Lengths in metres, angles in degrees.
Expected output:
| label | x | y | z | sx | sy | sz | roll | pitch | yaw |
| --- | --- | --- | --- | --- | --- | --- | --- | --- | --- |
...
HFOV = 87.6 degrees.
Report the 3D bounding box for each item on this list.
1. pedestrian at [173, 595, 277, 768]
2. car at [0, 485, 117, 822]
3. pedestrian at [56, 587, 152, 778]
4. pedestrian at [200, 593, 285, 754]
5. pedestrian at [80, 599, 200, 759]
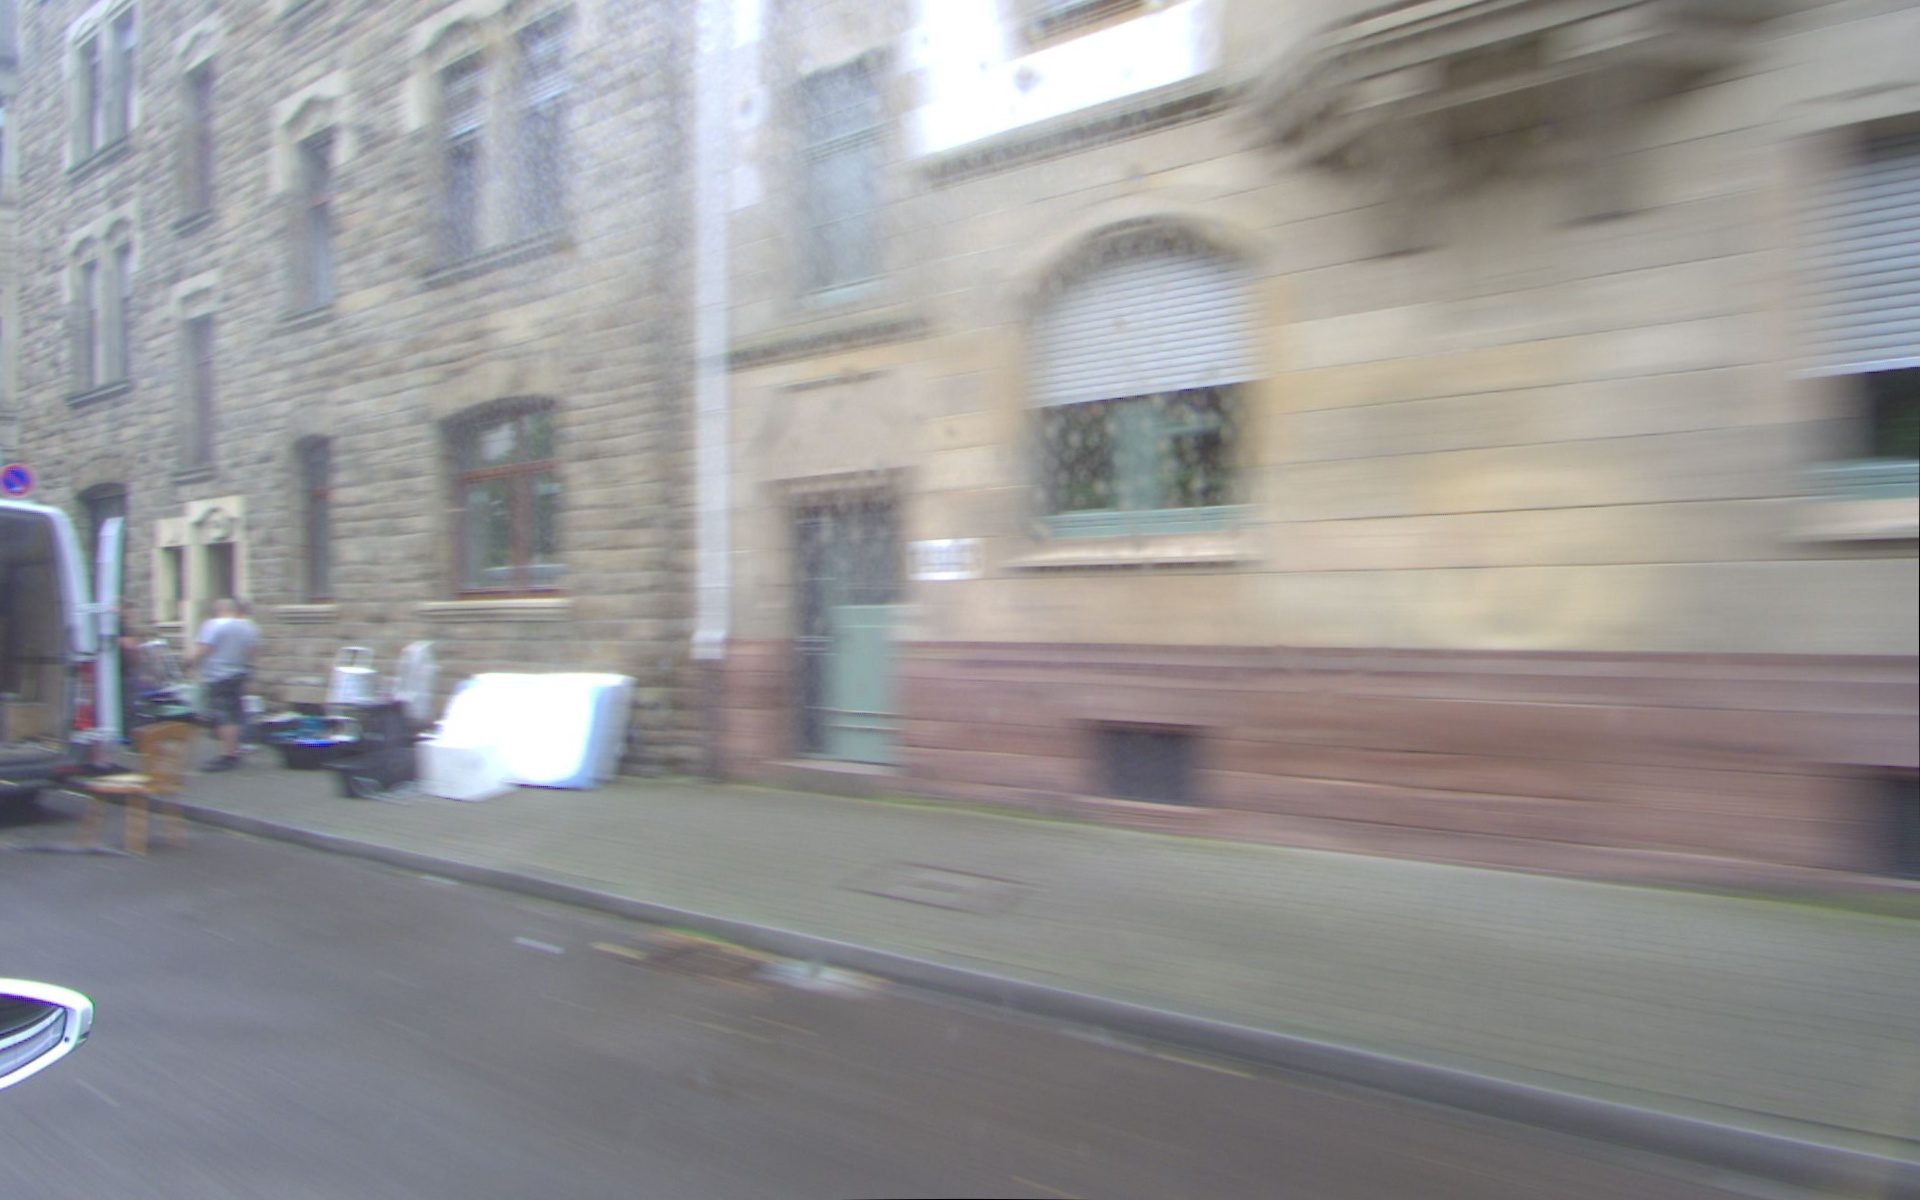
| label | x | y | z | sx | sy | sz | roll | pitch | yaw |
| --- | --- | --- | --- | --- | --- | --- | --- | --- | --- |
| pedestrian | -7.573 | 0.817 | 10.338 | 0.483 | 1.723 | 0.704 | -1 | 1 | 4 |
| car | -10.446 | 0.429 | 9.288 | 6.917 | 2.580 | 2.010 | -1 | -3 | 33 |
| pedestrian | -8.600 | 0.795 | 10.063 | 0.791 | 1.839 | 0.497 | 0 | 1 | 33 |
| pedestrian | -8.001 | 0.795 | 11.174 | 0.571 | 1.740 | 0.508 | 0 | 1 | 22 |
| pedestrian | -9.234 | 0.856 | 11.303 | 0.528 | 1.723 | 0.863 | 0 | 1 | 18 |
